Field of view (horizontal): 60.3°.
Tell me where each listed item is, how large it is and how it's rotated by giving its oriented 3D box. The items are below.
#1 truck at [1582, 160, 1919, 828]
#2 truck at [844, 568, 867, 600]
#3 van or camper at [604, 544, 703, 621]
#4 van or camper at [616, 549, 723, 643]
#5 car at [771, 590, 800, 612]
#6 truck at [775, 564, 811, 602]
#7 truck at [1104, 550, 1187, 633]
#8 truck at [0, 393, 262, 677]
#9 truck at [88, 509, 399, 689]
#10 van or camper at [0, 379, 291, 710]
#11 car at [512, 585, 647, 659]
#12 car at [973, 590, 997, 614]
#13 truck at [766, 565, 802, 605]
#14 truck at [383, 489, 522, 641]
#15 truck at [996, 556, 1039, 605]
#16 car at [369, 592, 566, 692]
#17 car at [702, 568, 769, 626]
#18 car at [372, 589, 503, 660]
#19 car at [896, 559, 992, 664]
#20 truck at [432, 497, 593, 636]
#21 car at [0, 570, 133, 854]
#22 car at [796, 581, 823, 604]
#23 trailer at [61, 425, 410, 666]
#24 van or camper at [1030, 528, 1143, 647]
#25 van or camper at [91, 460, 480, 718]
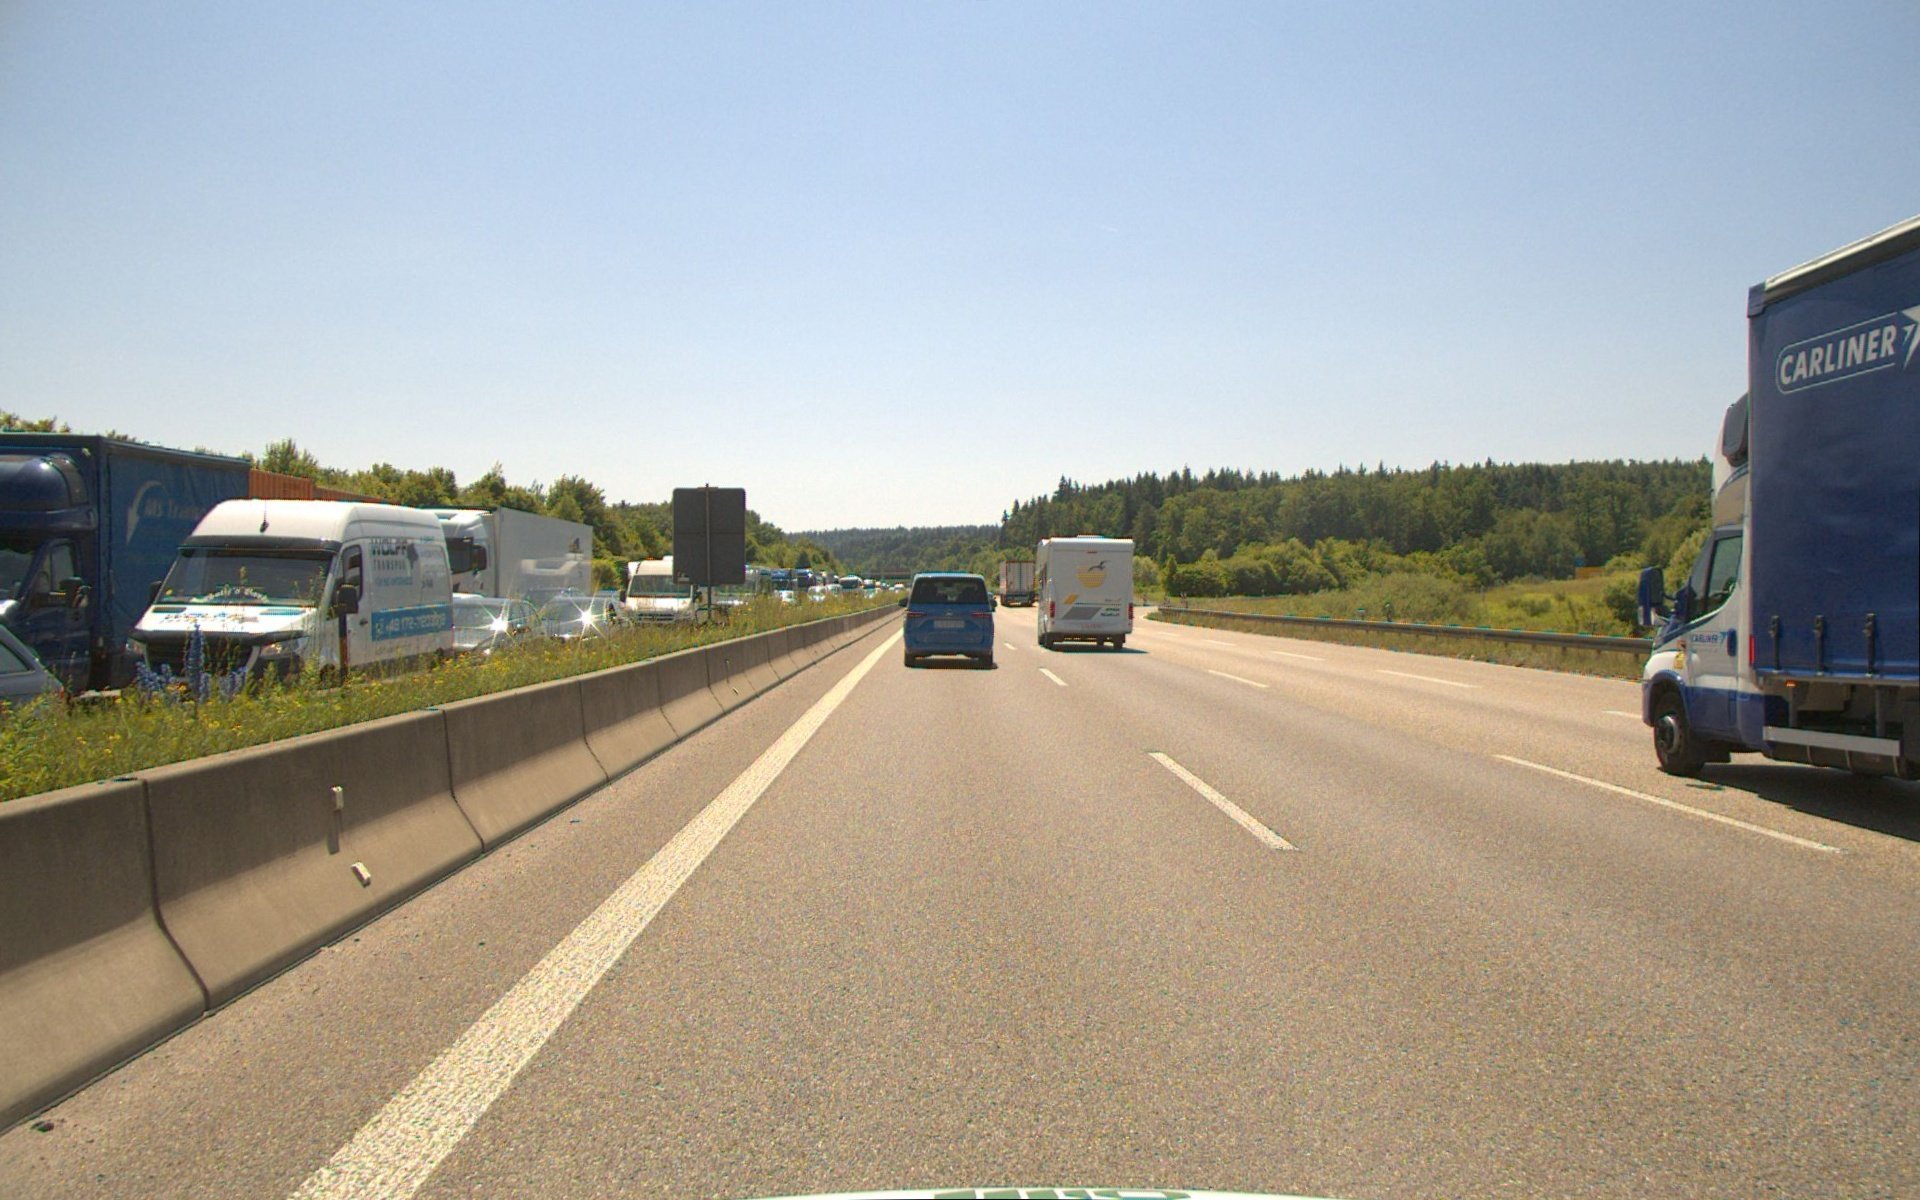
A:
[{"bbox_3d":[7.379,-0.652,10.929,2.726,4.200,9.738,1,0,-1],"label":"truck"},{"bbox_3d":[-13.158,-1.964,208.637,2.564,3.958,7.401,-1,0,-1],"label":"truck"},{"bbox_3d":[-12.456,-0.671,67.811,2.492,2.988,7.828,0,0,1],"label":"van or camper"},{"bbox_3d":[-8.271,-0.102,47.679,2.148,2.550,6.056,0,0,-1],"label":"van or camper"},{"bbox_3d":[-13.044,0.087,123.734,1.718,1.577,4.188,2,0,-1],"label":"car"},{"bbox_3d":[-18.511,-1.855,183.863,3.419,4.107,6.642,1,0,-1],"label":"truck"},{"bbox_3d":[8.647,-0.461,78.193,2.868,3.637,8.526,-1,1,0],"label":"truck"},{"bbox_3d":[-15.145,-1.025,29.354,2.537,4.401,7.290,1,0,-2],"label":"truck"},{"bbox_3d":[-11.284,-0.016,26.814,2.189,2.549,6.860,0,0,-1],"label":"truck"},{"bbox_3d":[-11.124,-0.580,21.047,2.266,3.449,7.678,0,0,-1],"label":"van or camper"},{"bbox_3d":[-7.774,0.425,34.225,1.782,1.433,4.881,0,0,-1],"label":"car"},{"bbox_3d":[1.948,0.174,129.291,1.781,1.825,3.893,1,0,-1],"label":"car"},{"bbox_3d":[-16.956,-1.406,160.000,2.493,3.739,9.936,0,0,-1],"label":"truck"},{"bbox_3d":[-15.550,-1.019,51.081,2.469,4.401,5.665,1,0,0],"label":"truck"},{"bbox_3d":[5.193,-1.740,149.957,3.416,4.243,8.640,1,0,-1],"label":"truck"},{"bbox_3d":[-7.626,0.606,26.063,1.863,1.433,4.430,0,0,-1],"label":"car"},{"bbox_3d":[-8.177,-0.112,60.632,1.953,2.049,3.999,0,0,-1],"label":"car"},{"bbox_3d":[-11.581,0.516,36.914,1.696,1.491,4.113,0,0,-1],"label":"car"},{"bbox_3d":[-0.350,0.221,35.127,1.870,2.049,3.999,1,0,-1],"label":"car"},{"bbox_3d":[-15.616,-1.066,58.834,2.469,4.401,12.419,1,0,-1],"label":"truck"},{"bbox_3d":[-6.801,0.677,9.364,1.775,1.760,4.934,1,0,-1],"label":"car"},{"bbox_3d":[-13.404,-0.630,147.573,1.982,1.992,5.093,0,0,-1],"label":"car"},{"bbox_3d":[-15.318,-1.006,36.416,2.559,4.385,11.997,1,0,-1],"label":"trailer"},{"bbox_3d":[3.512,-0.399,47.627,2.550,3.132,7.181,1,1,-1],"label":"van or camper"},{"bbox_3d":[-7.696,-0.108,19.800,2.148,2.585,6.415,0,0,-1],"label":"van or camper"}]
